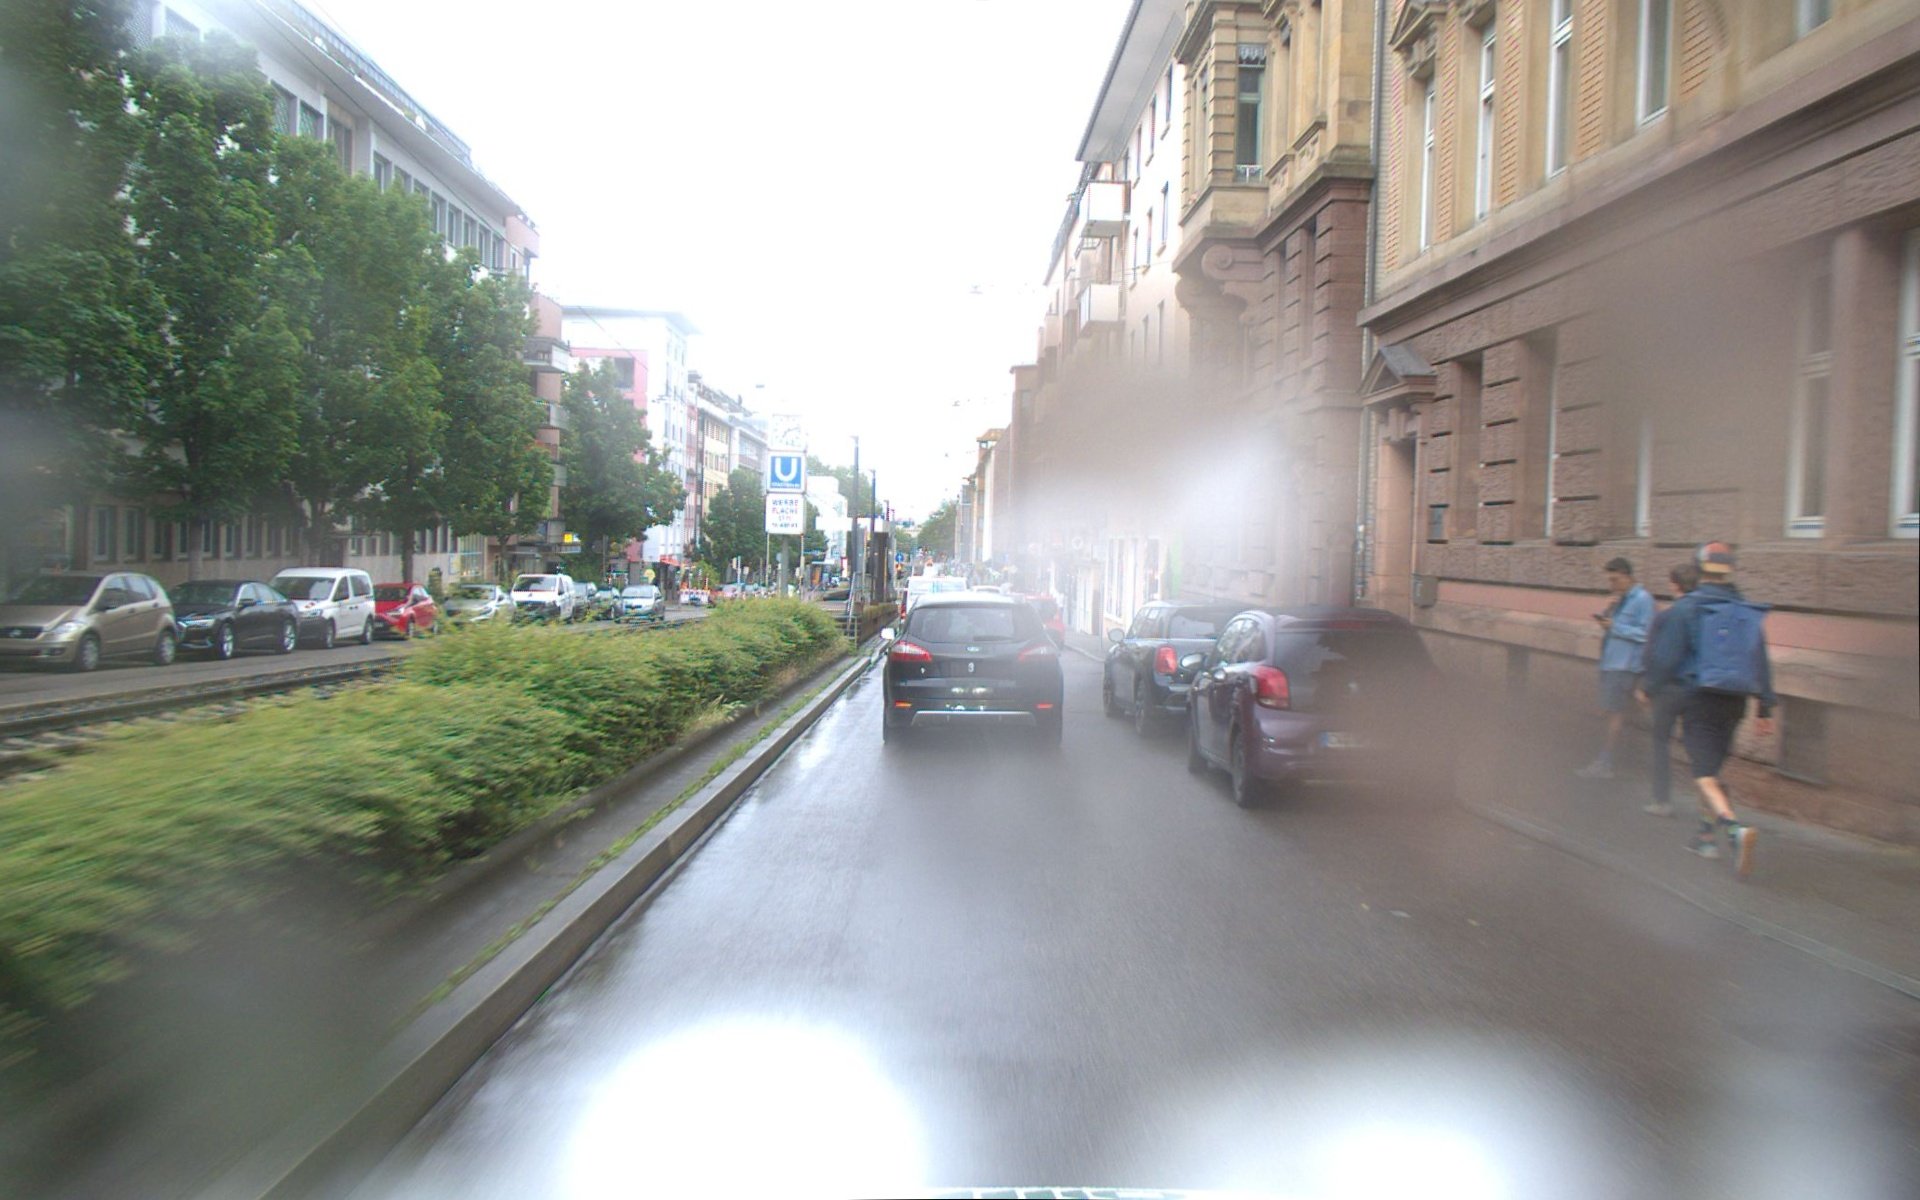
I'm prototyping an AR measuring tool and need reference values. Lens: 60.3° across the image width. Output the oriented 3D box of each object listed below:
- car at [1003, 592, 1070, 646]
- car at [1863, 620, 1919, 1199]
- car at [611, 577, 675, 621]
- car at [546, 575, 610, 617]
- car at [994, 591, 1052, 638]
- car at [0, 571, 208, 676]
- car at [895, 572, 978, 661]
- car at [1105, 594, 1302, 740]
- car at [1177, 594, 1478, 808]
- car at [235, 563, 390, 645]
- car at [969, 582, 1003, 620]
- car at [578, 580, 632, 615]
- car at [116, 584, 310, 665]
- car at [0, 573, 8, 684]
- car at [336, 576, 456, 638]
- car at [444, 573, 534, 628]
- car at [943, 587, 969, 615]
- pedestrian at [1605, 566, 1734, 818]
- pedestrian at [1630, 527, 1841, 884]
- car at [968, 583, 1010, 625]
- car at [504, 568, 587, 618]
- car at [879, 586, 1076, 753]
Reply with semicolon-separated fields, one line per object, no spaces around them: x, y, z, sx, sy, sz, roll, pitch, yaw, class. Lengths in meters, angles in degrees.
2.123;0.523;46.644;1.636;1.446;3.475;1;0;-1;car
2.882;0.757;1.376;1.756;1.431;4.254;1;-1;-3;car
-12.867;-0.025;67.294;1.818;1.665;4.045;2;-1;-1;car
-15.523;-0.127;67.432;1.660;1.601;4.045;2;-1;-1;car
2.003;0.442;53.171;1.636;1.446;3.475;1;0;-1;car
-14.460;0.380;27.585;1.818;1.576;4.430;2;-1;-1;car
-0.562;0.351;41.934;1.948;2.096;4.645;1;1;0;car
2.673;0.689;18.922;1.545;1.485;3.819;1;0;-2;car
2.819;0.706;13.379;1.616;1.485;3.475;1;0;-1;car
-14.837;0.116;38.172;1.818;1.731;4.430;2;-1;-1;car
1.340;0.079;84.975;1.559;1.812;3.778;3;-1;-1;car
-15.635;-0.091;73.089;1.519;1.419;4.045;2;-1;-1;car
-14.476;0.478;32.328;1.817;1.443;4.430;-1;-1;-1;car
-14.411;0.338;21.077;1.818;1.576;4.719;2;-1;-1;car
-15.062;0.210;44.369;1.818;1.553;4.045;2;-1;-1;car
-14.647;0.046;51.640;1.634;1.585;4.045;2;-1;-1;car
-0.365;0.080;134.909;1.953;2.049;3.999;3;-1;-1;car
4.712;0.598;11.017;0.509;1.607;0.677;-1;-1;-1;pedestrian
4.252;0.537;9.131;0.689;1.851;0.961;-1;2;-1;pedestrian
1.370;0.205;79.171;1.801;1.812;3.778;3;-1;-1;car
-15.243;-0.221;61.022;1.818;1.665;4.934;2;-1;-1;car
0.068;0.648;17.313;1.806;1.533;3.997;0;0;-3;car
